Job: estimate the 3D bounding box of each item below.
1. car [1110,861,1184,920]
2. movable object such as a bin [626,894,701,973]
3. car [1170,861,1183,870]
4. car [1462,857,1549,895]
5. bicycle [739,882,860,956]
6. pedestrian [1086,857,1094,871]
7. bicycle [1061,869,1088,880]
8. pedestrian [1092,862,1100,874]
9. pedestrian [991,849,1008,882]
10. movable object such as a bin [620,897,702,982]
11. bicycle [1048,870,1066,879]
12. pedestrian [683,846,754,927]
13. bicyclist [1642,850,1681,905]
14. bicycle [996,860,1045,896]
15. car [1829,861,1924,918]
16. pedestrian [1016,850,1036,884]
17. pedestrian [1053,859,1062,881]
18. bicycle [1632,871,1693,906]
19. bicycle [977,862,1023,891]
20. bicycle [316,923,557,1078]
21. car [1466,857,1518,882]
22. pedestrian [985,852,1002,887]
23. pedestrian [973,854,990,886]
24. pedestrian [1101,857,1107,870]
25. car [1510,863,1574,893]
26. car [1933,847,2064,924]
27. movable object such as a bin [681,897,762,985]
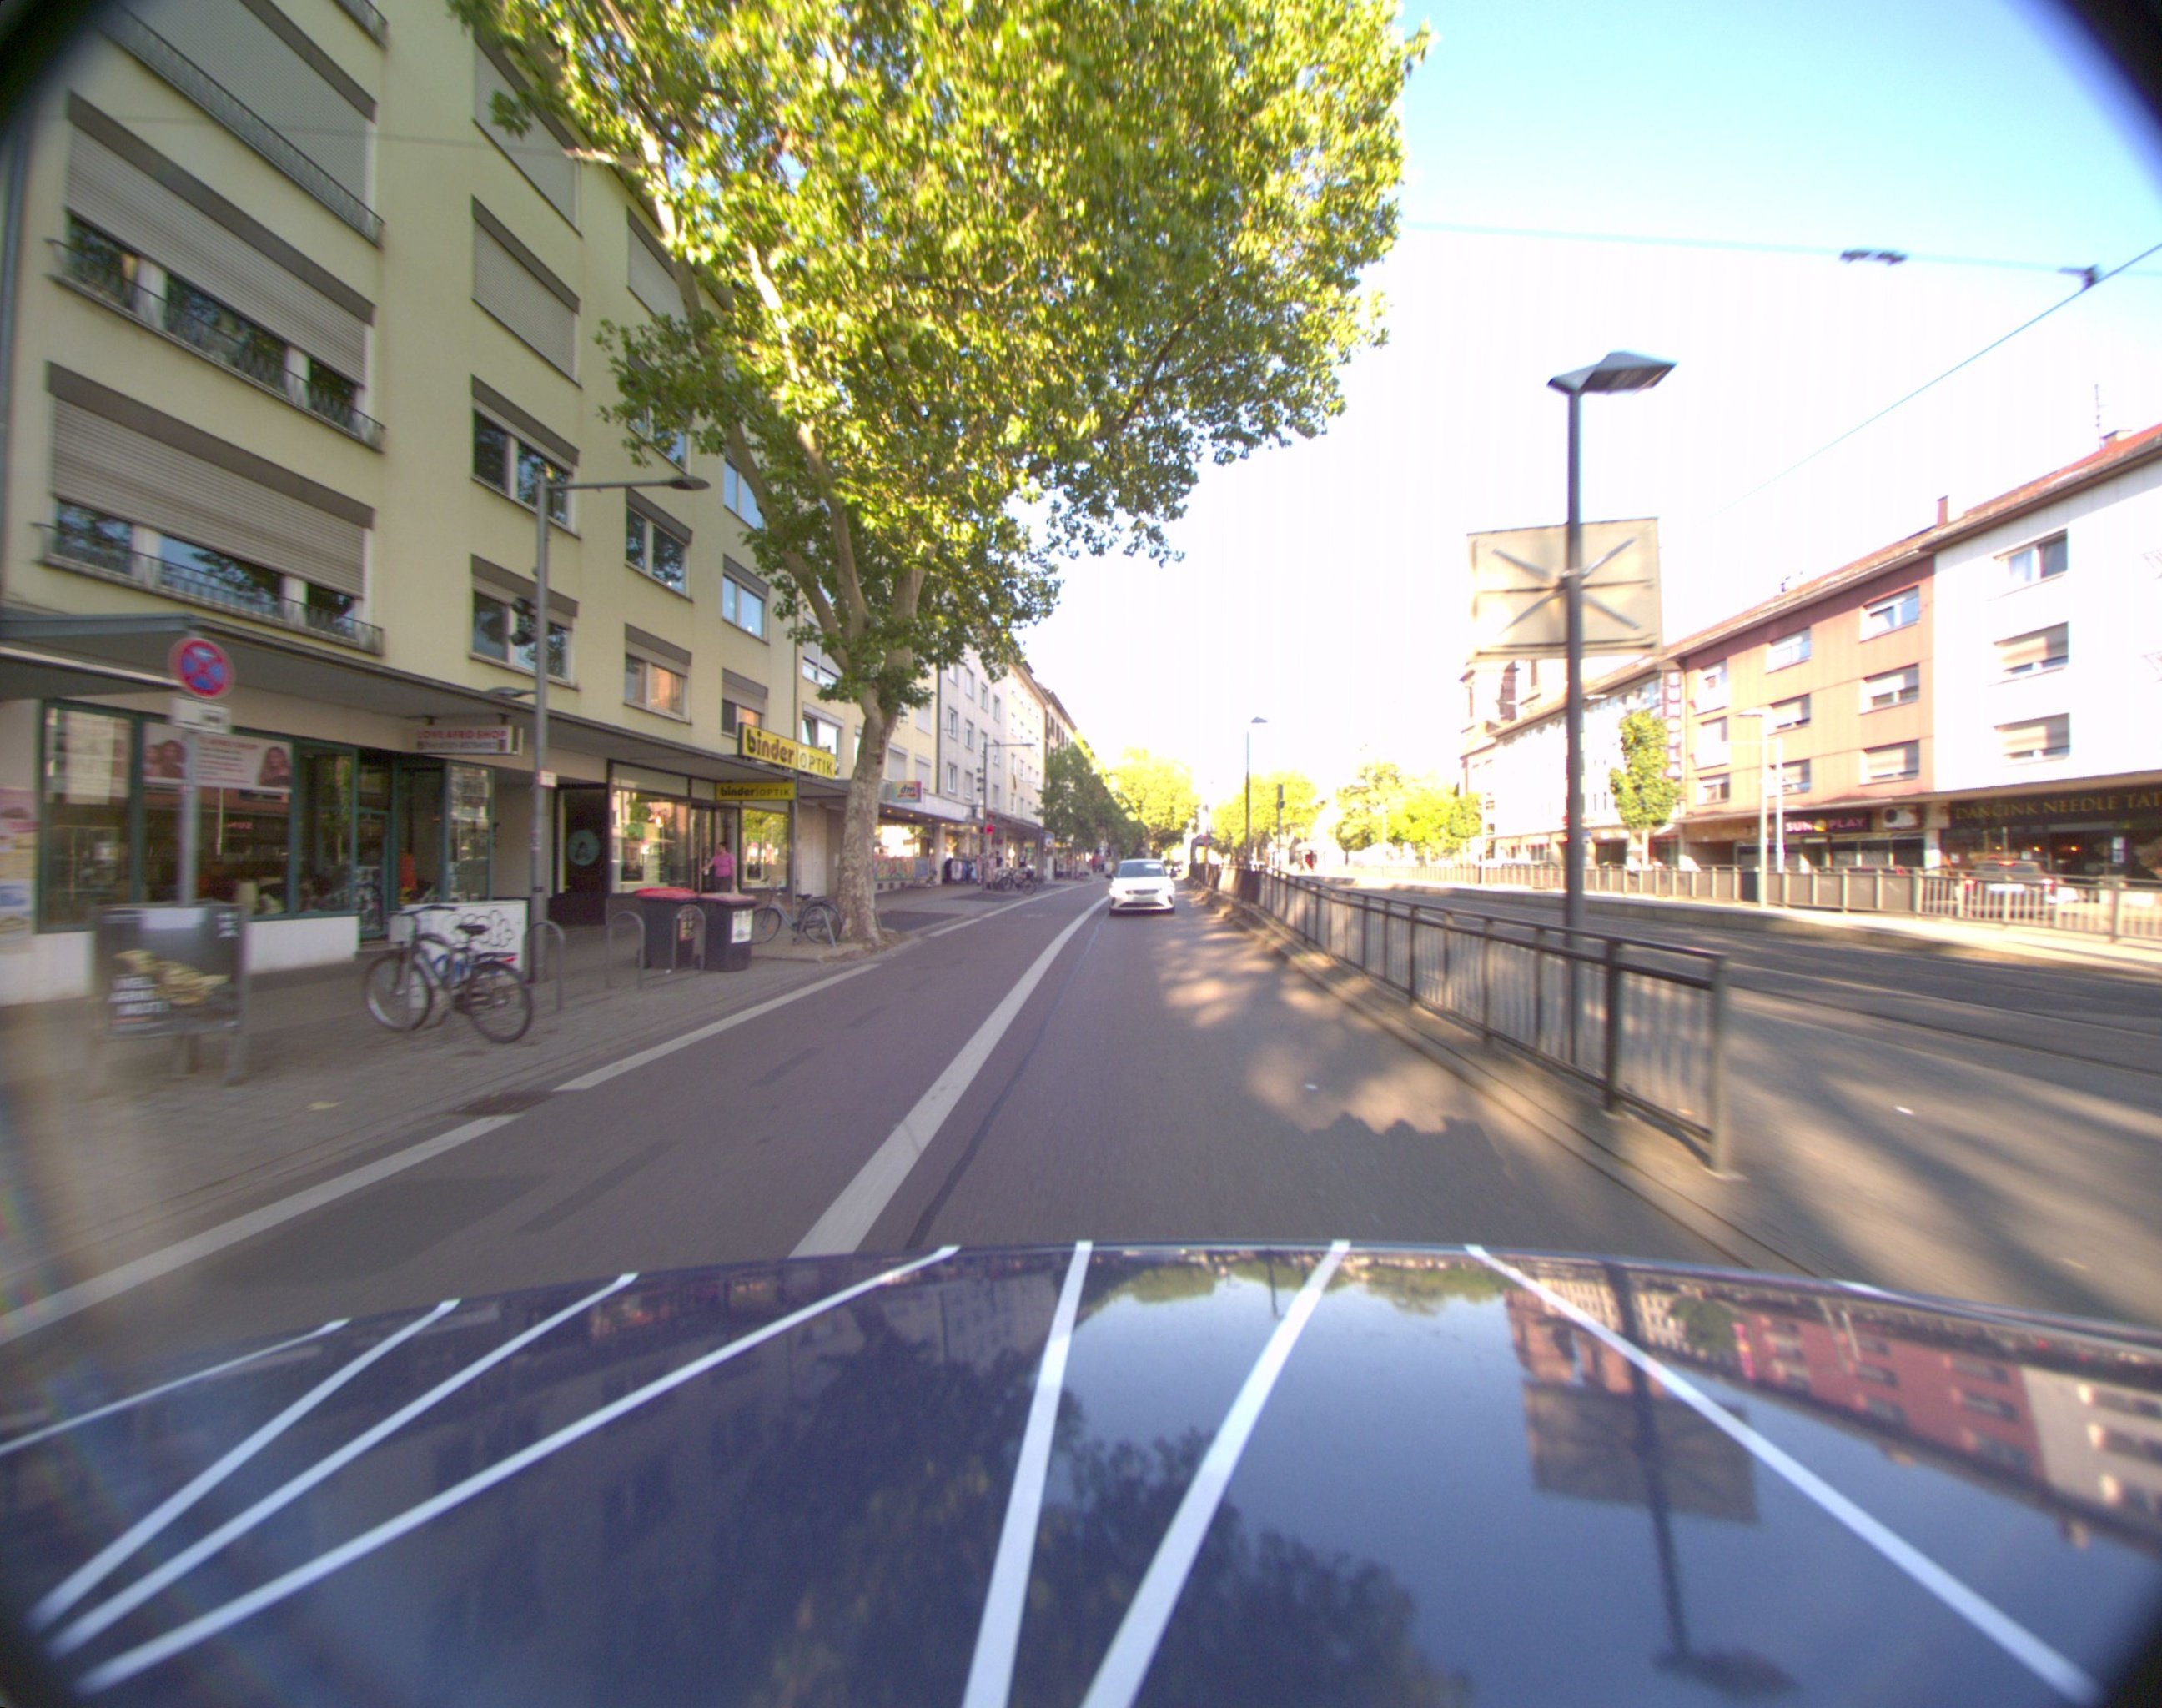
[{"bbox_3d":[1.807,0.932,20.892,1.826,1.433,3.829,-1,-1,5],"label":"car"},{"bbox_3d":[-6.197,1.159,11.285,0.722,1.066,0.645,2,1,25],"label":"movable object such as a bin"},{"bbox_3d":[15.556,1.921,123.550,1.718,1.390,4.001,-2,0,2],"label":"car"},{"bbox_3d":[20.428,1.031,36.802,1.998,1.706,4.438,0,0,5],"label":"car"},{"bbox_3d":[-4.694,1.067,12.729,1.721,1.111,0.745,0,4,6],"label":"bicycle"},{"bbox_3d":[1.126,1.191,92.429,0.851,1.644,0.916,-2,0,6],"label":"pedestrian"},{"bbox_3d":[-0.444,1.418,53.078,1.762,0.773,0.702,1,-1,-16],"label":"bicycle"},{"bbox_3d":[1.953,1.847,99.939,0.851,1.644,0.916,-2,0,6],"label":"pedestrian"},{"bbox_3d":[-4.261,0.600,39.888,0.569,1.665,1.070,2,0,7],"label":"pedestrian"},{"bbox_3d":[-5.825,1.174,10.572,0.724,1.066,0.644,3,1,4],"label":"movable object such as a bin"},{"bbox_3d":[-1.703,1.417,53.243,0.840,0.569,1.758,1,-1,-16],"label":"bicycle"},{"bbox_3d":[-8.158,0.697,17.138,0.969,1.753,1.134,1,1,7],"label":"pedestrian"},{"bbox_3d":[21.751,0.865,28.497,0.765,2.002,0.911,1,0,5],"label":"bicyclist"},{"bbox_3d":[-2.541,0.991,31.813,1.788,1.304,0.695,5,1,18],"label":"bicycle"},{"bbox_3d":[24.357,1.036,23.381,1.859,1.482,3.777,-2,0,45],"label":"car"},{"bbox_3d":[-2.990,0.719,41.363,0.774,1.789,0.931,3,0,8],"label":"pedestrian"},{"bbox_3d":[-1.740,1.196,56.959,0.490,1.558,0.649,2,0,8],"label":"pedestrian"},{"bbox_3d":[21.747,1.259,28.474,0.719,1.223,2.279,1,0,5],"label":"bicycle"},{"bbox_3d":[-3.492,0.985,32.922,1.795,1.118,0.663,5,1,-21],"label":"bicycle"},{"bbox_3d":[-5.577,1.222,6.580,1.910,1.098,0.519,2,1,12],"label":"bicycle"},{"bbox_3d":[27.741,1.022,51.205,4.008,1.477,1.739,-2,0,-41],"label":"car"},{"bbox_3d":[-4.097,0.735,35.643,0.547,1.619,0.896,2,0,7],"label":"pedestrian"},{"bbox_3d":[-4.764,0.757,36.456,0.542,1.493,0.896,2,0,7],"label":"pedestrian"},{"bbox_3d":[2.983,1.278,98.290,0.693,1.665,0.659,2,0,7],"label":"pedestrian"},{"bbox_3d":[26.676,1.369,43.967,4.007,1.521,1.865,-2,0,-39],"label":"car"},{"bbox_3d":[24.604,0.782,20.514,1.859,1.789,3.777,-2,0,45],"label":"car"},{"bbox_3d":[-4.984,1.189,10.556,0.723,1.096,0.645,4,1,13],"label":"movable object such as a bin"}]
